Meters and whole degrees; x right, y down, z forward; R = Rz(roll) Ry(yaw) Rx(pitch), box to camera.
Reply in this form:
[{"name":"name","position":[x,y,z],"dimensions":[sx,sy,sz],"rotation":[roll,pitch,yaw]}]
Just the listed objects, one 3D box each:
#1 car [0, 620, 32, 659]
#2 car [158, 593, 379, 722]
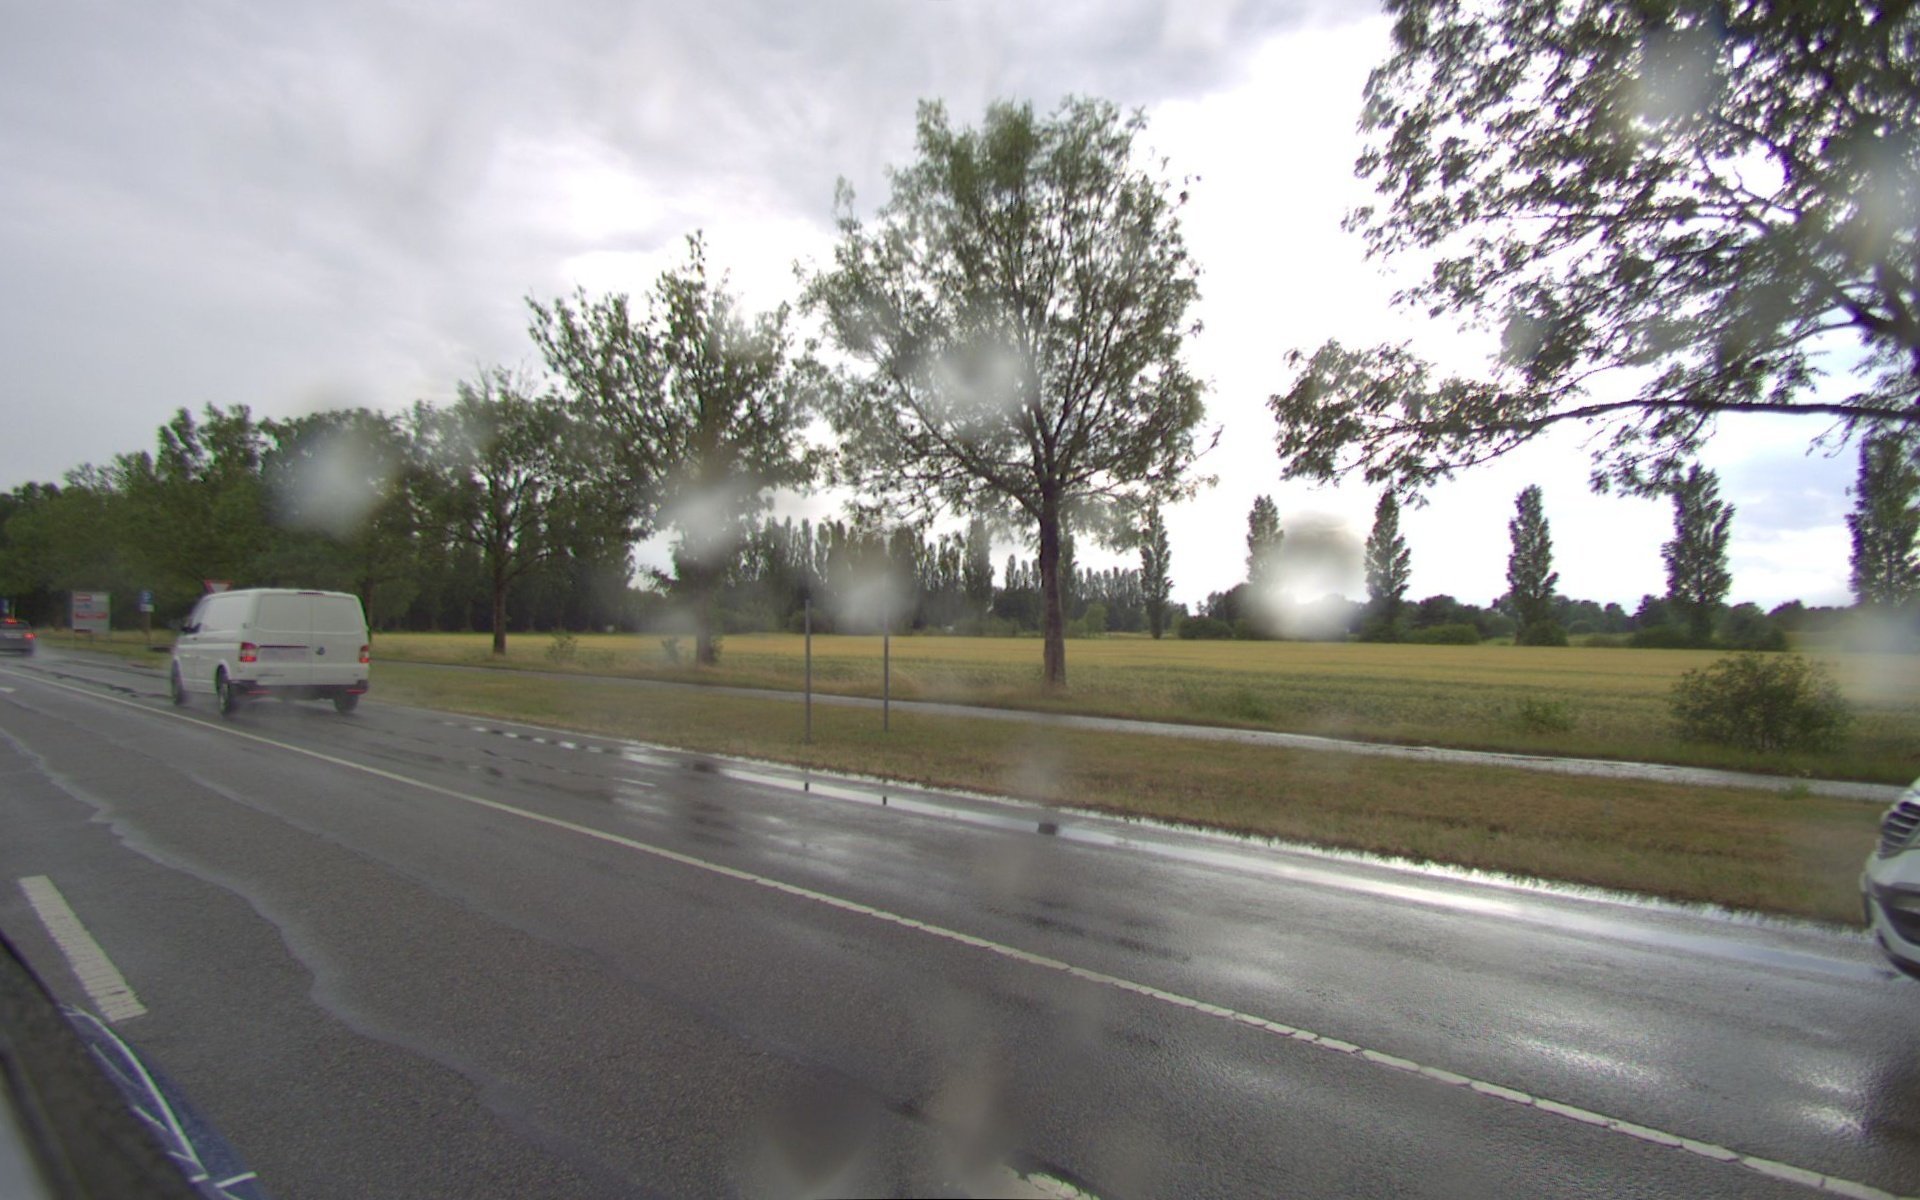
[{"name":"car","position":[-39.853,1.619,42.092],"dimensions":[3.300,1.541,1.484],"rotation":[-1,-4,43]},{"name":"car","position":[-11.712,0.908,17.024],"dimensions":[4.683,1.876,1.896],"rotation":[-1,-4,41]}]
